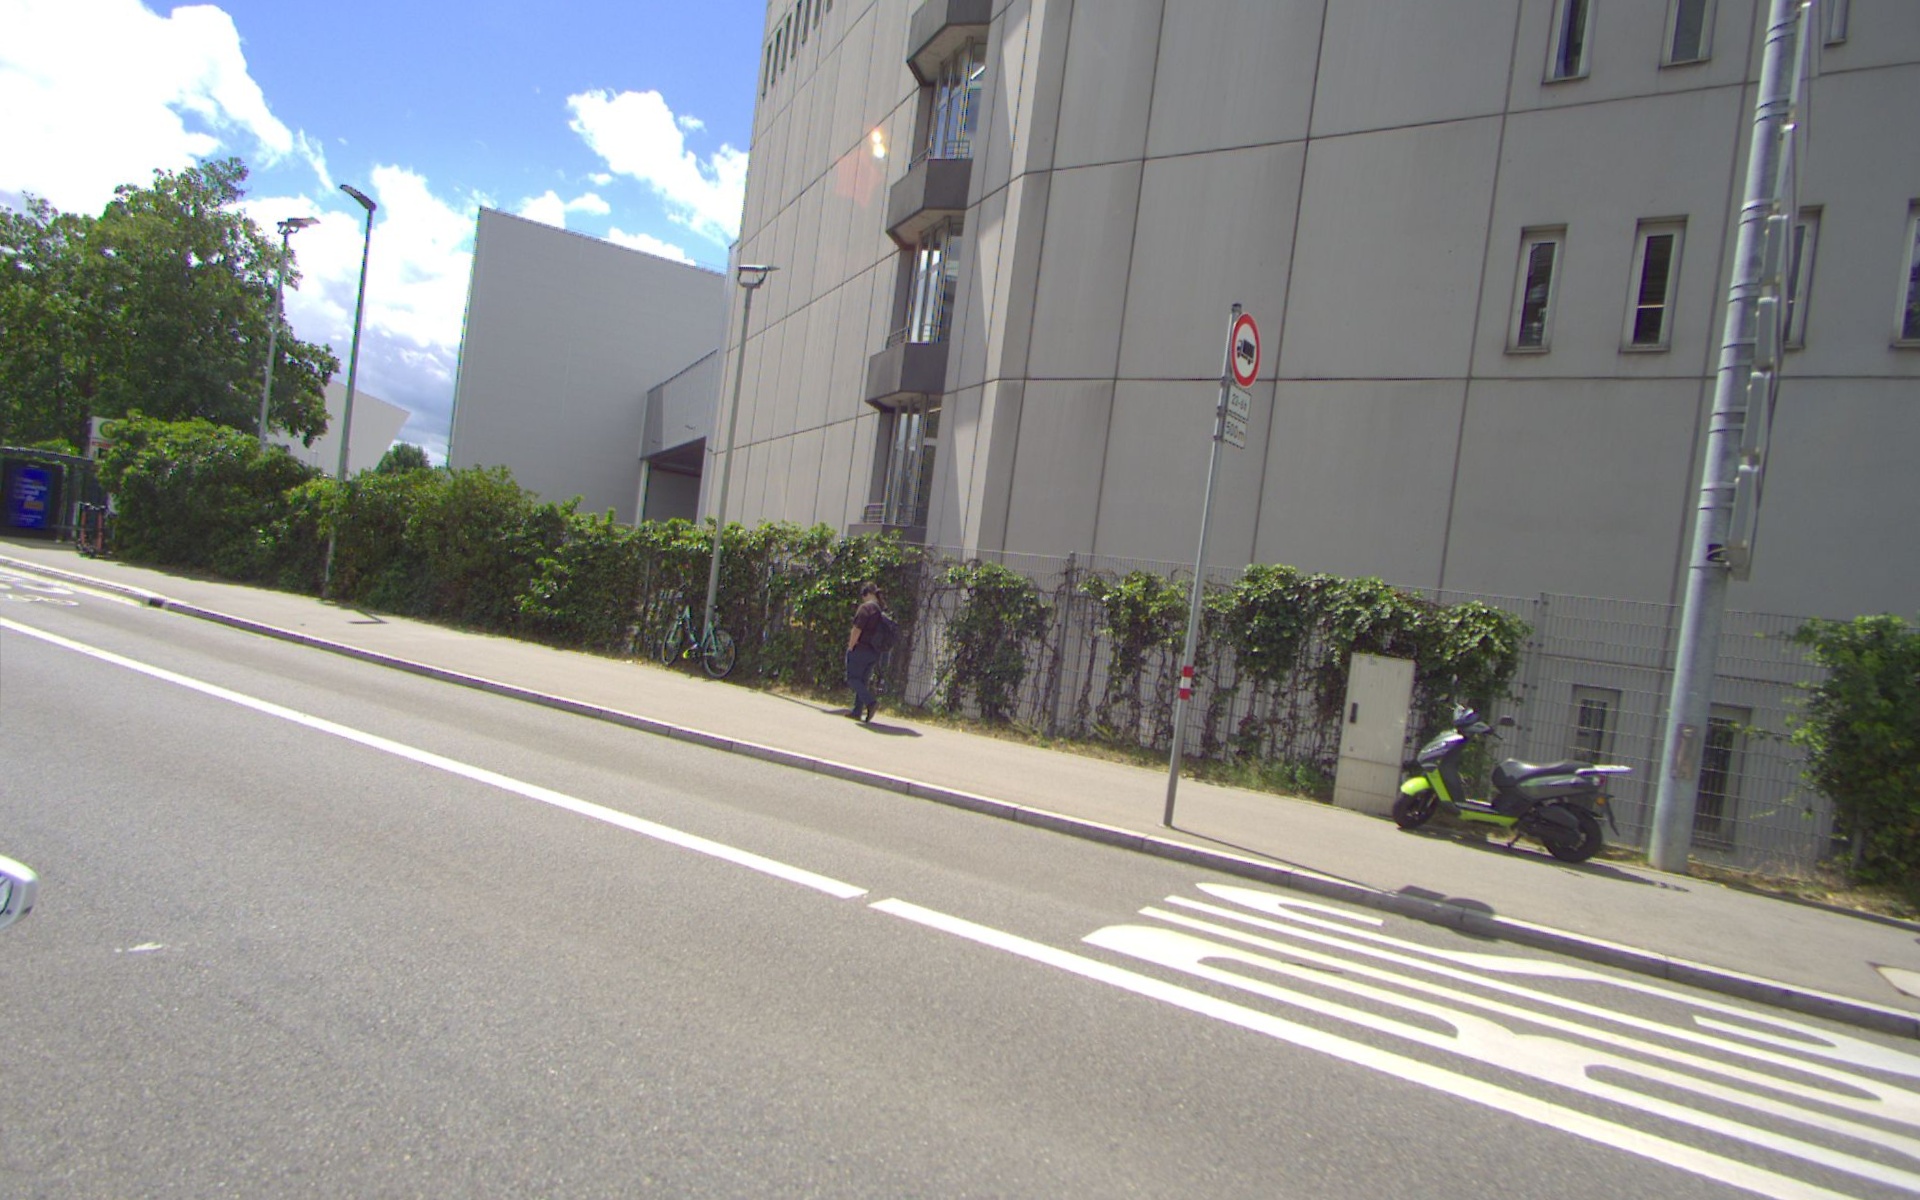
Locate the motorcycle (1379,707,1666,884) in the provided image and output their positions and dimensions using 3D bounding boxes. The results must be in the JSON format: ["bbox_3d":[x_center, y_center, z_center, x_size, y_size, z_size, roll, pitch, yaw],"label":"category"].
[{"bbox_3d":[4.807,1.624,8.713,2.003,1.081,0.591,7,1,32],"label":"motorcycle"}]

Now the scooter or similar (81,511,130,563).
[{"bbox_3d":[-20.883,-1.549,24.609,0.537,1.177,1.777,6,1,-30],"label":"scooter or similar"}]

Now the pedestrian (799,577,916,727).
[{"bbox_3d":[-1.230,0.612,12.162,0.981,1.666,0.810,6,2,30],"label":"pedestrian"}]

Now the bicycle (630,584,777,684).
[{"bbox_3d":[-3.833,0.479,14.910,2.428,1.194,0.444,6,-1,32],"label":"bicycle"}]

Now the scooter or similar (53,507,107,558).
[{"bbox_3d":[-21.989,-1.686,25.165,0.537,1.177,2.110,6,1,-30],"label":"scooter or similar"}]
